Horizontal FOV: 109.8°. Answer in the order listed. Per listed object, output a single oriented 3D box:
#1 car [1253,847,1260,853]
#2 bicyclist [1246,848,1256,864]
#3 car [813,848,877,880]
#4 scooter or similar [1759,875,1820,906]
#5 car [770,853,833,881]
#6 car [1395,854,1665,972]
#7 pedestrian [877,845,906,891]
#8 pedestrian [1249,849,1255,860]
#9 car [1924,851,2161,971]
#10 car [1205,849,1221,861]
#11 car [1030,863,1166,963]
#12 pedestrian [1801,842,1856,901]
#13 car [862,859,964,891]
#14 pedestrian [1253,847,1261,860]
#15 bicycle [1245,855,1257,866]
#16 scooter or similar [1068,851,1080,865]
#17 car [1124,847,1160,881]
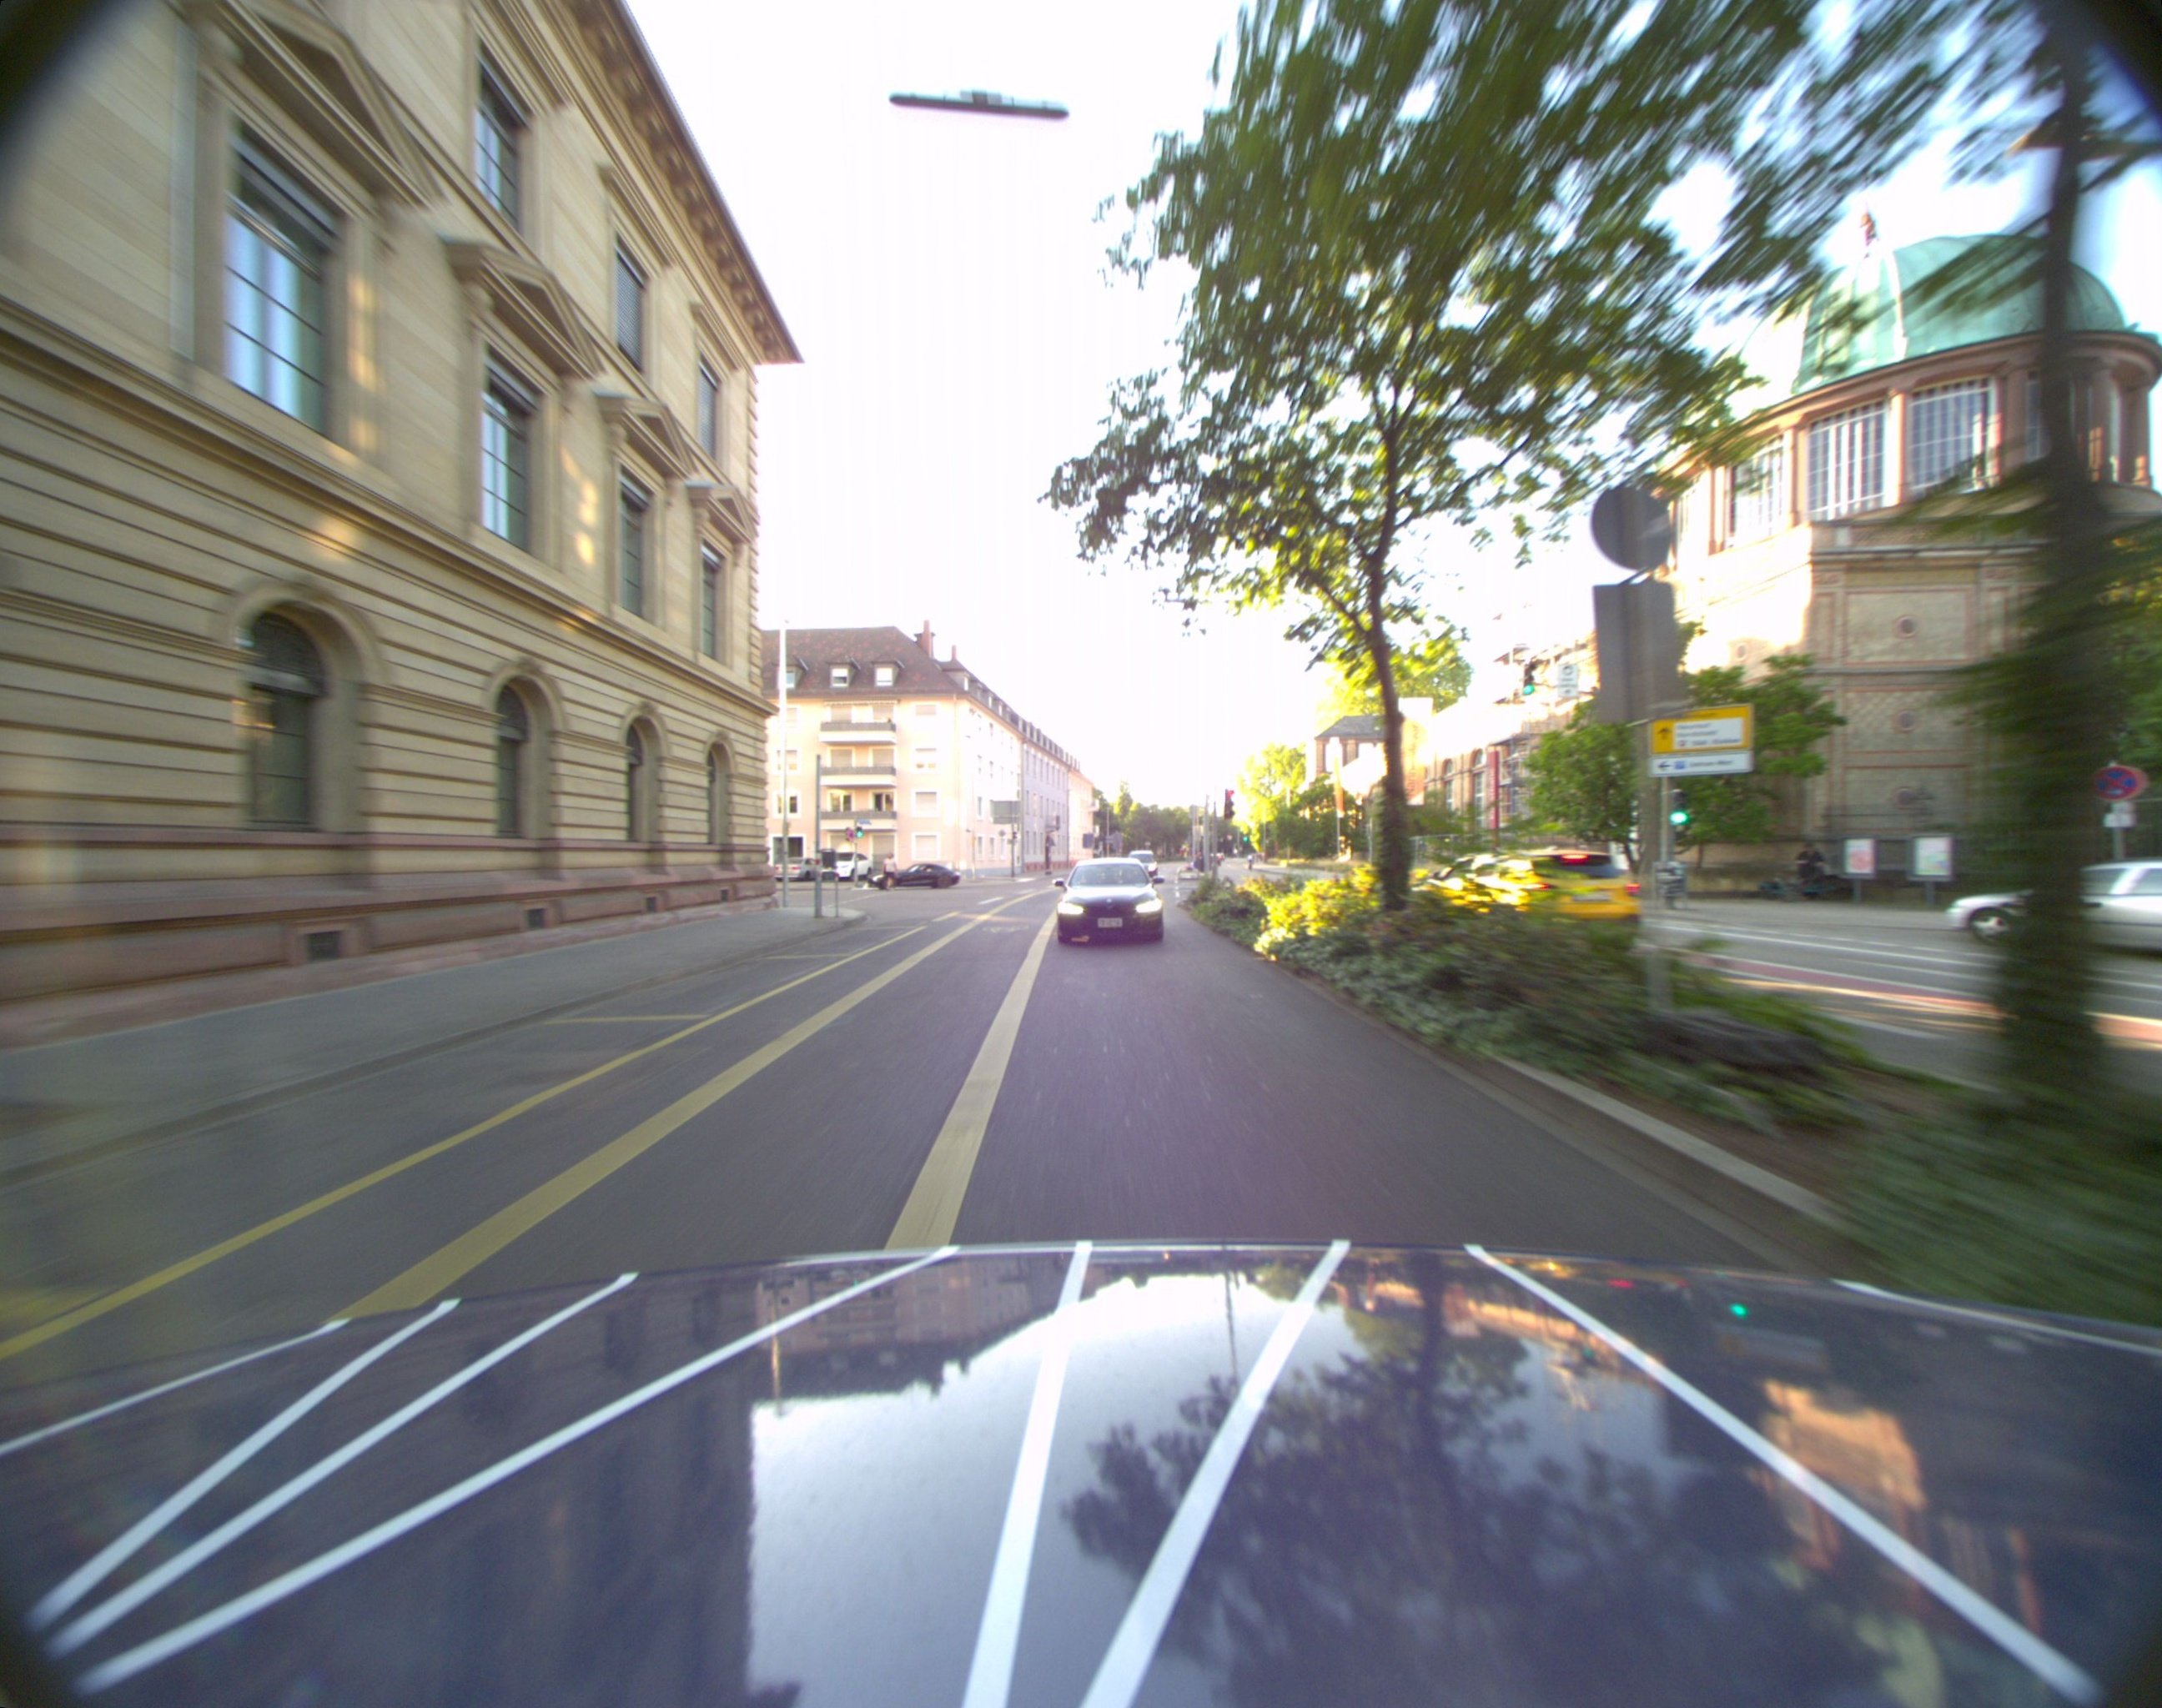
[{"bbox_3d":[49.528,-1.088,214.121,1.918,1.674,4.004,0,0,15],"label":"car"},{"bbox_3d":[16.545,0.193,74.166,0.749,1.452,0.937,1,1,1],"label":"bicyclist"},{"bbox_3d":[-13.482,0.545,43.788,1.998,1.740,4.476,0,0,4],"label":"car"},{"bbox_3d":[18.967,0.962,20.363,0.679,0.773,1.028,0,1,1],"label":"scooter or similar"},{"bbox_3d":[-16.140,0.703,44.098,1.923,1.504,4.029,0,0,4],"label":"car"},{"bbox_3d":[6.751,0.775,12.047,1.850,1.538,4.118,0,0,0],"label":"car"},{"bbox_3d":[-8.478,0.607,34.051,0.785,2.002,0.996,0,1,23],"label":"pedestrian"},{"bbox_3d":[23.255,0.064,103.222,0.675,1.504,0.836,-4,-1,9],"label":"pedestrian"},{"bbox_3d":[15.881,0.807,11.321,1.749,1.539,4.368,-2,2,-1],"label":"car"},{"bbox_3d":[17.175,0.085,99.066,1.827,1.499,4.429,0,0,6],"label":"car"},{"bbox_3d":[0.509,0.937,13.979,1.963,1.379,4.783,-1,1,8],"label":"car"},{"bbox_3d":[20.243,0.467,20.579,0.737,1.570,0.762,0,1,2],"label":"pedestrian"},{"bbox_3d":[-8.221,0.997,37.193,4.364,1.293,2.180,-2,0,-30],"label":"car"},{"bbox_3d":[23.889,-0.063,103.175,0.806,1.728,0.851,0,1,33],"label":"pedestrian"},{"bbox_3d":[16.531,0.639,74.116,0.755,1.084,1.932,2,1,1],"label":"bicycle"},{"bbox_3d":[-0.773,0.430,84.533,0.726,1.450,1.674,2,1,18],"label":"scooter or similar"},{"bbox_3d":[3.351,0.513,42.295,1.838,1.674,4.224,-2,1,4],"label":"car"}]
